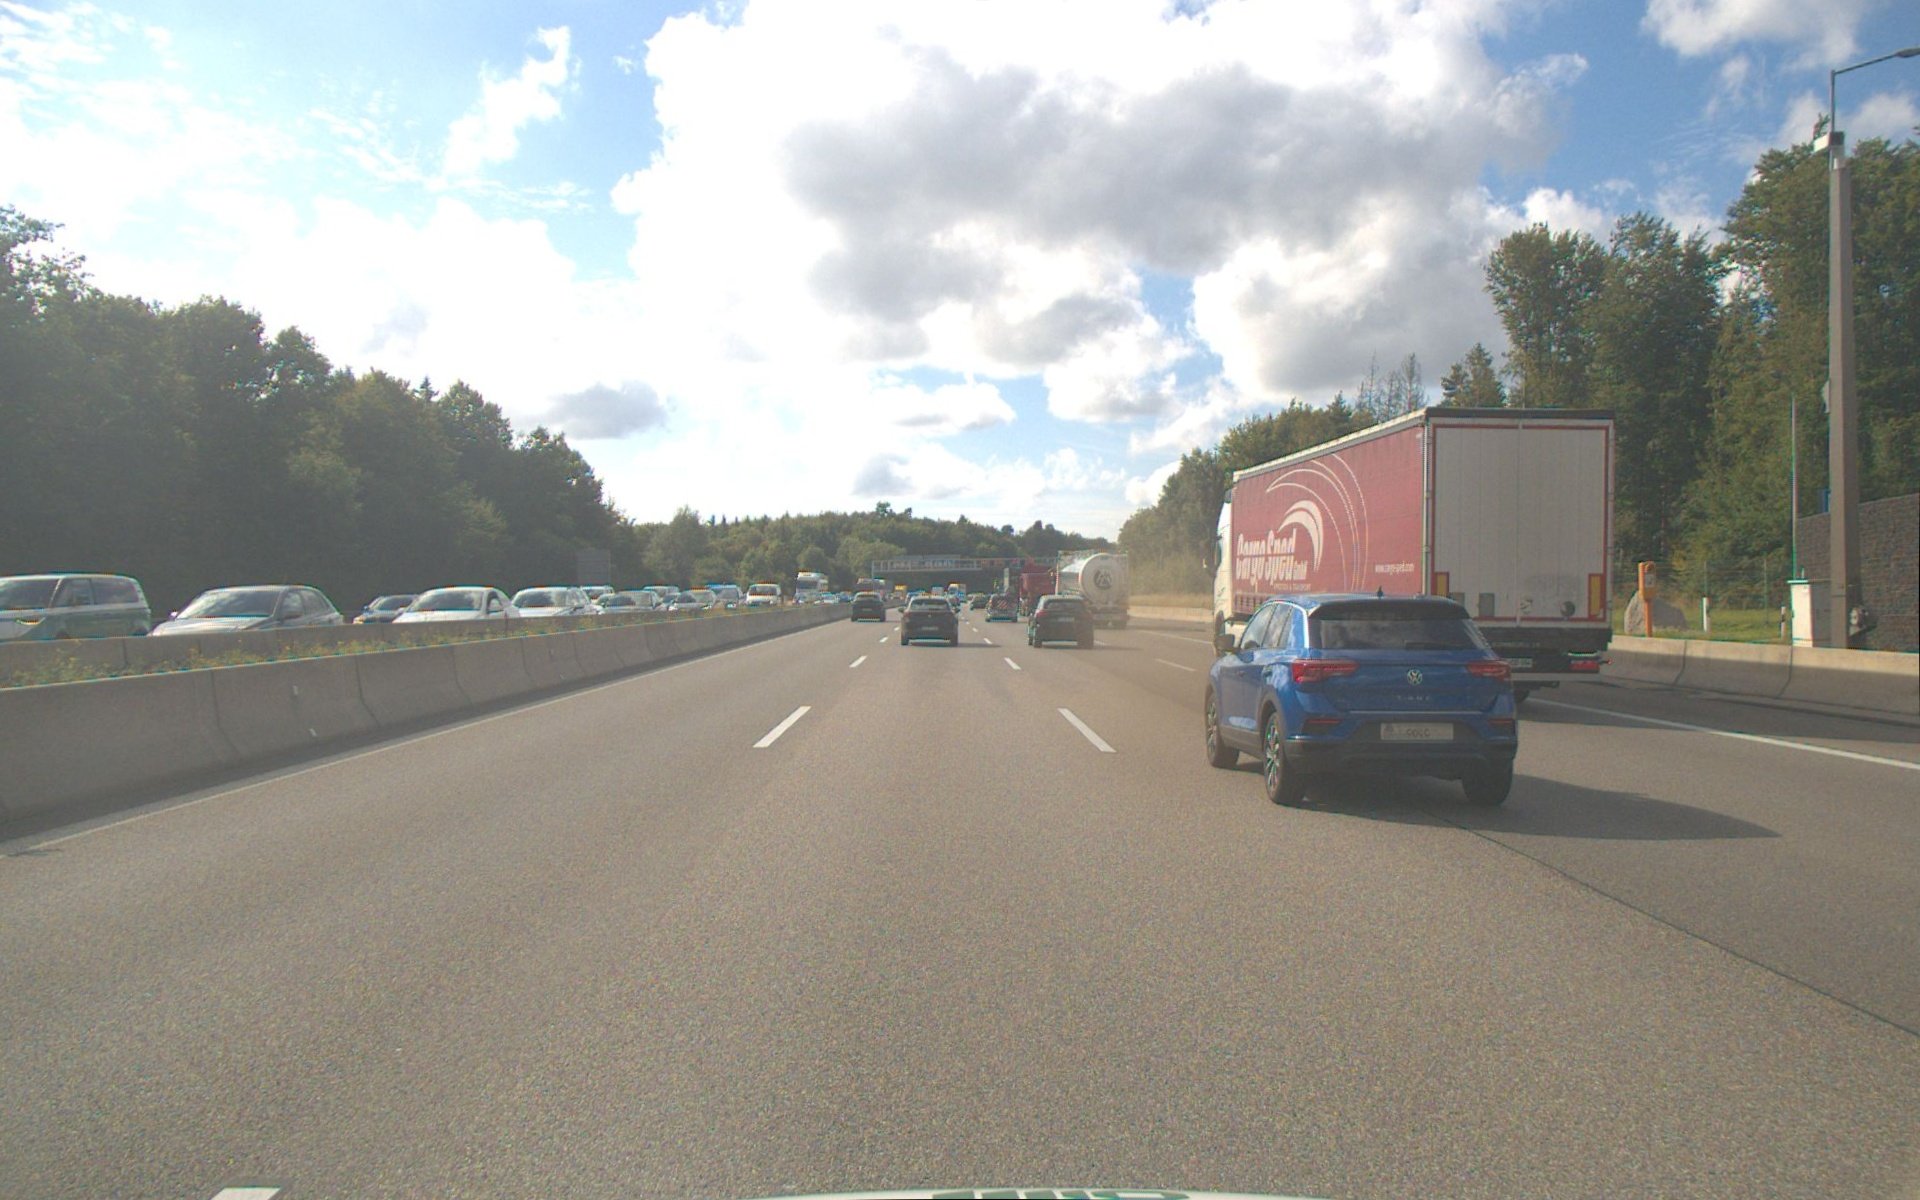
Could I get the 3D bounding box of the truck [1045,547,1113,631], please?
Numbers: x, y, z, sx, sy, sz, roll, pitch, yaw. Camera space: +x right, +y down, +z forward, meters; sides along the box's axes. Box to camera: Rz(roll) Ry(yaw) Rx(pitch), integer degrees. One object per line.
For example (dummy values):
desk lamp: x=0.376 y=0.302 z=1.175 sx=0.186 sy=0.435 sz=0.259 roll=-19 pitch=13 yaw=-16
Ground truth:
truck: x=6.290 y=-0.510 z=88.235 sx=2.984 sy=4.233 sz=7.124 roll=0 pitch=-1 yaw=-1

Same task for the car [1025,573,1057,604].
car: x=5.805 y=-0.789 z=118.744 sx=1.953 sy=2.049 sz=3.998 roll=1 pitch=-2 yaw=-1

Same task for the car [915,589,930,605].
car: x=-5.180 y=-0.417 z=226.778 sx=1.954 sy=2.049 sz=3.997 roll=1 pitch=0 yaw=-3

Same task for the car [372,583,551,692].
car: x=-9.456 y=0.734 z=31.785 sx=1.917 sy=1.897 sz=4.550 roll=1 pitch=-2 yaw=1

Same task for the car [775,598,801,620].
car: x=-16.428 y=0.868 z=158.169 sx=1.953 sy=2.049 sz=3.999 roll=1 pitch=-2 yaw=0

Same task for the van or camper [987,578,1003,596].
van or camper: x=5.023 y=-1.891 z=238.681 sx=2.041 sy=2.536 sz=4.224 roll=0 pitch=0 yaw=-1

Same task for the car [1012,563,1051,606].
car: x=5.523 y=-1.169 z=128.807 sx=2.808 sy=3.044 sz=5.148 roll=1 pitch=-2 yaw=0

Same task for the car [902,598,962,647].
car: x=-0.879 y=0.680 z=50.108 sx=1.699 sy=1.389 sz=3.998 roll=1 pitch=-1 yaw=-2

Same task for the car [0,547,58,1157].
car: x=-3.437 y=0.643 z=2.106 sx=1.861 sy=1.635 sz=5.103 roll=1 pitch=-1 yaw=-2

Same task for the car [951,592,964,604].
car: x=-0.288 y=-0.270 z=219.391 sx=1.641 sy=1.620 sz=3.628 roll=-1 pitch=0 yaw=0

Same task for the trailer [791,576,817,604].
trailer: x=-18.342 y=-1.141 z=194.599 sx=2.237 sy=3.077 sz=7.604 roll=1 pitch=-2 yaw=0

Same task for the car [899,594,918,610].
car: x=-6.142 y=0.195 z=197.539 sx=2.111 sy=1.807 sz=3.999 roll=1 pitch=-1 yaw=-1

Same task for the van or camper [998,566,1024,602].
van or camper: x=4.764 y=-1.470 z=155.550 sx=2.303 sy=3.199 sz=5.710 roll=1 pitch=-2 yaw=0

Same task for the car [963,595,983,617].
car: x=1.303 y=0.612 z=167.032 sx=1.953 sy=2.049 sz=3.998 roll=1 pitch=-1 yaw=-1

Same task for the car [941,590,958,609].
car: x=-1.226 y=-0.028 z=195.324 sx=1.953 sy=2.049 sz=3.998 roll=-1 pitch=-2 yaw=-1

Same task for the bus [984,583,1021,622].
bus: x=2.415 y=0.168 z=94.949 sx=1.953 sy=2.049 sz=3.999 roll=1 pitch=-2 yaw=-1

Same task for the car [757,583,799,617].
car: x=-10.995 y=0.042 z=100.241 sx=1.952 sy=1.897 sz=4.550 roll=1 pitch=-2 yaw=1

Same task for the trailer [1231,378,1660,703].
trailer: x=7.367 y=-0.567 z=28.126 sx=2.977 sy=4.106 sz=13.885 roll=1 pitch=-2 yaw=-1

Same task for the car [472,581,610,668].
car: x=-9.786 y=0.609 z=39.017 sx=1.952 sy=1.897 sz=4.550 roll=1 pitch=-2 yaw=1

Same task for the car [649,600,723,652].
car: x=-10.465 y=1.038 z=63.502 sx=1.952 sy=1.897 sz=4.550 roll=1 pitch=-2 yaw=1

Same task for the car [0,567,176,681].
car: x=-17.450 y=0.494 z=32.236 sx=1.952 sy=2.049 sz=4.853 roll=1 pitch=-2 yaw=0

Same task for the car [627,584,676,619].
car: x=-18.336 y=0.107 z=98.579 sx=1.952 sy=1.897 sz=4.550 roll=1 pitch=-2 yaw=1

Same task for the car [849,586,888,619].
car: x=-5.082 y=0.115 z=91.873 sx=1.953 sy=1.807 sz=4.000 roll=-1 pitch=0 yaw=-1

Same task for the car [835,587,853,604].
car: x=-14.357 y=-0.546 z=205.515 sx=1.952 sy=2.049 sz=4.000 roll=0 pitch=0 yaw=0

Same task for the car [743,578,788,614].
car: x=-11.129 y=-0.208 z=94.963 sx=1.952 sy=1.897 sz=4.550 roll=1 pitch=-2 yaw=1

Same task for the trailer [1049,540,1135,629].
trailer: x=6.403 y=-0.609 z=82.105 sx=2.974 sy=4.086 sz=12.240 roll=0 pitch=-1 yaw=-1

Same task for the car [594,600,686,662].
car: x=-10.323 y=1.031 z=53.677 sx=1.952 sy=1.897 sz=4.550 roll=1 pitch=-2 yaw=1

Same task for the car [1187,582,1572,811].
car: x=3.206 y=0.671 z=13.684 sx=1.885 sy=1.568 sz=4.643 roll=0 pitch=0 yaw=-2

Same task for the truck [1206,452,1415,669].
truck: x=7.227 y=-0.680 z=34.974 sx=3.018 sy=4.135 sz=6.067 roll=1 pitch=-2 yaw=-1

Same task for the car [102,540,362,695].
car: x=-10.461 y=0.288 z=24.136 sx=1.952 sy=2.049 sz=3.999 roll=1 pitch=-2 yaw=0

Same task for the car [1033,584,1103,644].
car: x=3.164 y=0.426 z=49.036 sx=1.762 sy=1.673 sz=3.999 roll=1 pitch=-1 yaw=-1
